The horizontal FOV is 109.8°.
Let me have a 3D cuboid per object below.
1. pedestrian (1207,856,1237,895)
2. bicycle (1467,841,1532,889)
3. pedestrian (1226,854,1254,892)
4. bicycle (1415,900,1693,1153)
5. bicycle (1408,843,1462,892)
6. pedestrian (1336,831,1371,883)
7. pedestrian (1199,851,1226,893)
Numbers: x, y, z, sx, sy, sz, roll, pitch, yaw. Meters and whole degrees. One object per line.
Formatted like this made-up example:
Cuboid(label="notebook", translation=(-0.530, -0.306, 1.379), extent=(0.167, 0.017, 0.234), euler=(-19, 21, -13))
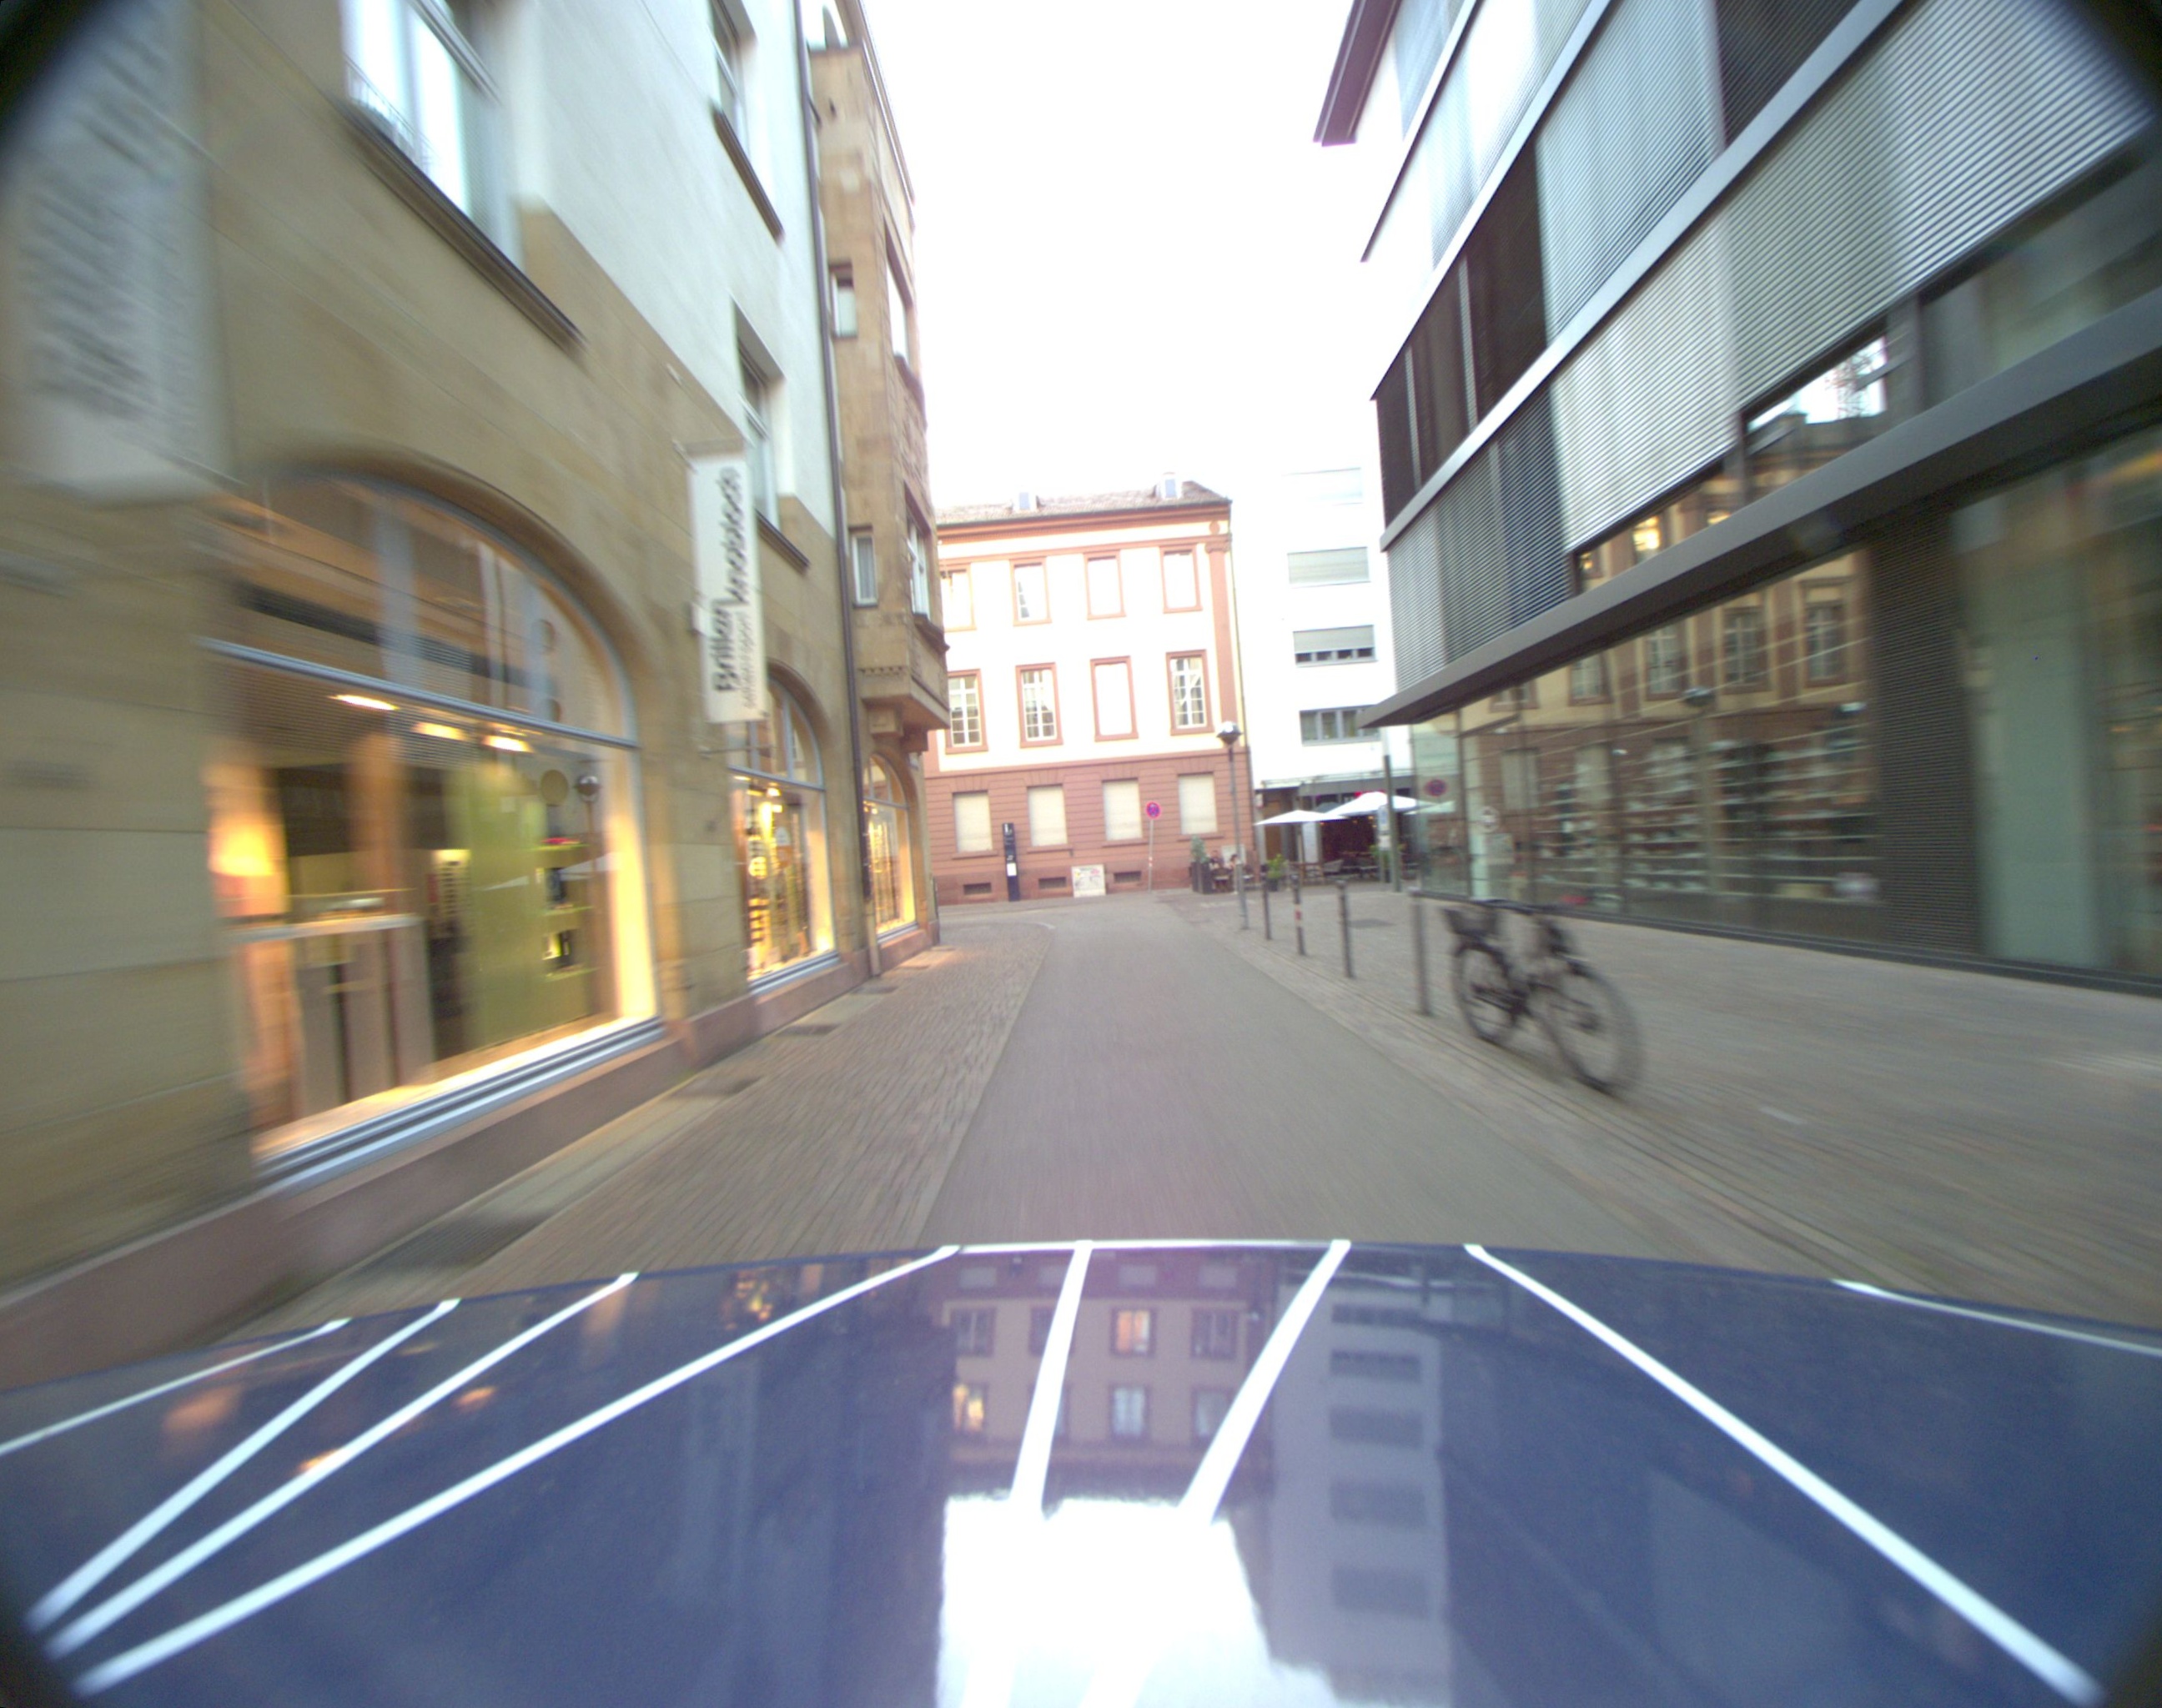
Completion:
Cuboid(label="pedestrian", translation=(4.480, 0.675, 24.157), extent=(0.673, 1.177, 0.792), euler=(-4, 2, -4))
Cuboid(label="bicycle", translation=(10.477, 0.305, 19.110), extent=(0.466, 1.114, 2.017), euler=(-4, -2, 1))
Cuboid(label="pedestrian", translation=(5.256, 0.611, 25.184), extent=(0.673, 1.177, 0.792), euler=(-4, 2, 0))
Cuboid(label="bicycle", translation=(2.808, 0.929, 4.788), extent=(0.411, 1.126, 1.930), euler=(-5, 0, -2))
Cuboid(label="bicycle", translation=(8.687, 0.343, 18.725), extent=(0.466, 1.129, 1.703), euler=(-4, -2, 1))
Cuboid(label="pedestrian", translation=(9.076, 0.105, 25.300), extent=(0.725, 1.639, 0.792), euler=(-4, 0, -4))
Cuboid(label="pedestrian", translation=(4.424, 0.593, 25.521), extent=(0.673, 1.323, 0.792), euler=(-4, 2, 0))
